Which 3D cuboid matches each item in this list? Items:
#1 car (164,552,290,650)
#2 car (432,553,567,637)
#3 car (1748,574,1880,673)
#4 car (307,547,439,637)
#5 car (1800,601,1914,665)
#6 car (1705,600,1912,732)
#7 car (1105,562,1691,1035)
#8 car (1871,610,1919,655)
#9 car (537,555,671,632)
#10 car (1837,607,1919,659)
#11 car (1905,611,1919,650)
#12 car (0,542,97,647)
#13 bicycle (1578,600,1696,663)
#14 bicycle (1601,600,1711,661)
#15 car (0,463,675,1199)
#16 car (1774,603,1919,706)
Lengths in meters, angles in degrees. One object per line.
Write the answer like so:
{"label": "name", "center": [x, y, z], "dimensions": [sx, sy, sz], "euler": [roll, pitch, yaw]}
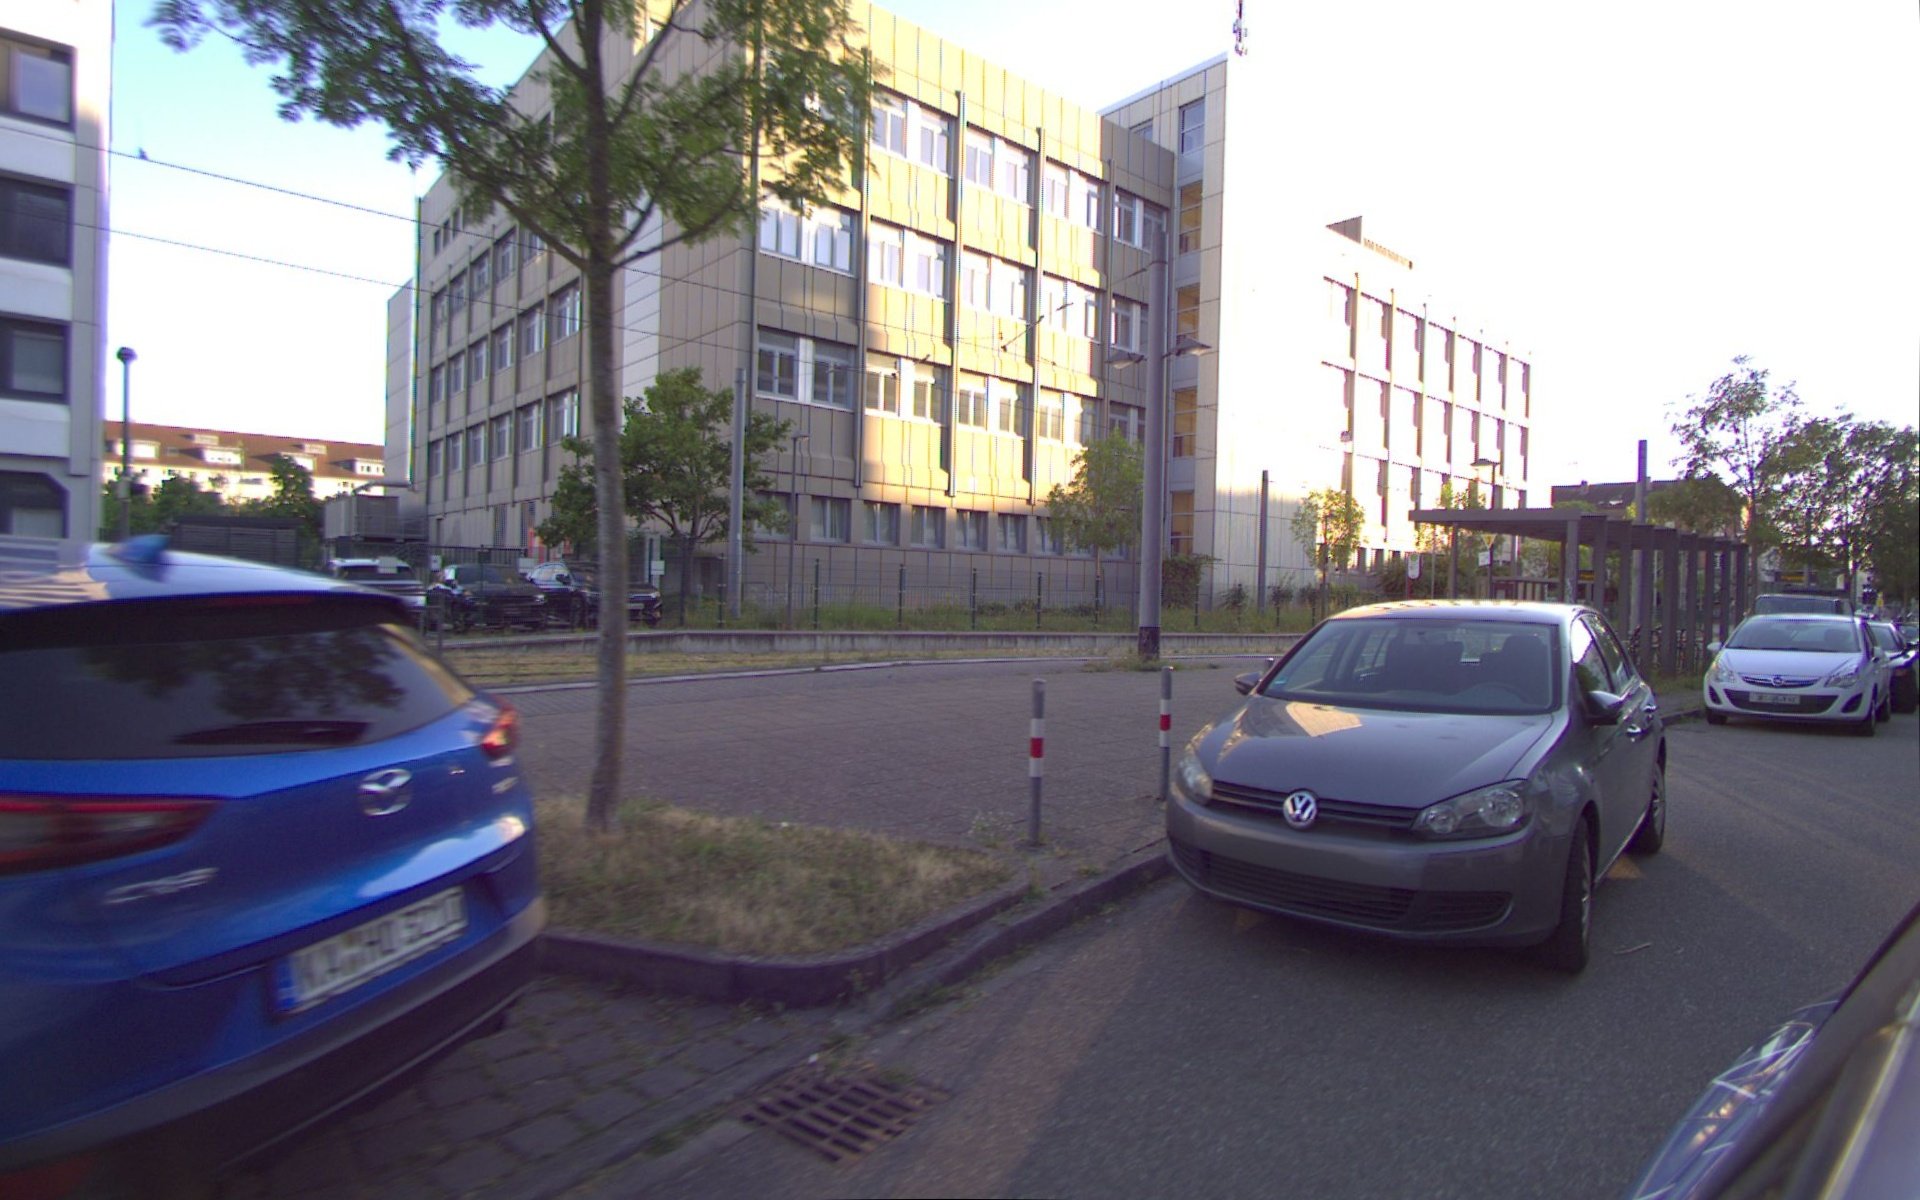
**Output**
{"label": "car", "center": [-13.648, -0.054, 18.753], "dimensions": [1.645, 1.505, 3.998], "euler": [1, 3, -39]}
{"label": "car", "center": [-9.908, -0.160, 21.634], "dimensions": [1.645, 1.505, 3.998], "euler": [1, 3, -39]}
{"label": "car", "center": [21.607, 0.555, 25.537], "dimensions": [4.653, 2.203, 1.808], "euler": [1, 2, -42]}
{"label": "car", "center": [-11.725, -0.219, 20.109], "dimensions": [1.645, 1.505, 3.998], "euler": [1, 3, -39]}
{"label": "car", "center": [25.687, 0.902, 28.935], "dimensions": [4.398, 1.600, 1.712], "euler": [1, 2, -39]}
{"label": "car", "center": [11.480, 0.776, 13.597], "dimensions": [4.117, 1.470, 1.678], "euler": [1, 0, -44]}
{"label": "car", "center": [2.547, 0.629, 5.265], "dimensions": [1.729, 1.484, 3.941], "euler": [-1, -1, 40]}
{"label": "car", "center": [34.595, 1.176, 36.784], "dimensions": [3.930, 1.469, 1.711], "euler": [1, 2, -41]}
{"label": "car", "center": [-8.294, -0.202, 23.396], "dimensions": [1.645, 1.505, 3.998], "euler": [1, 3, -39]}
{"label": "car", "center": [30.296, 1.040, 33.207], "dimensions": [4.059, 1.511, 1.711], "euler": [1, 2, -41]}
{"label": "car", "center": [40.494, 1.309, 41.554], "dimensions": [4.694, 1.514, 1.801], "euler": [1, 4, -39]}
{"label": "car", "center": [-15.772, -0.158, 17.058], "dimensions": [1.792, 1.532, 3.995], "euler": [2, 2, -41]}
{"label": "bicycle", "center": [12.981, 0.579, 19.453], "dimensions": [0.479, 1.079, 1.810], "euler": [0, 2, -40]}
{"label": "bicycle", "center": [13.797, 0.584, 20.100], "dimensions": [0.414, 1.079, 1.723], "euler": [0, 2, -40]}
{"label": "car", "center": [-3.045, 0.479, 2.777], "dimensions": [3.943, 1.539, 1.920], "euler": [2, 2, 15]}
{"label": "car", "center": [15.058, 0.830, 16.841], "dimensions": [4.440, 1.470, 1.789], "euler": [1, 0, -44]}
